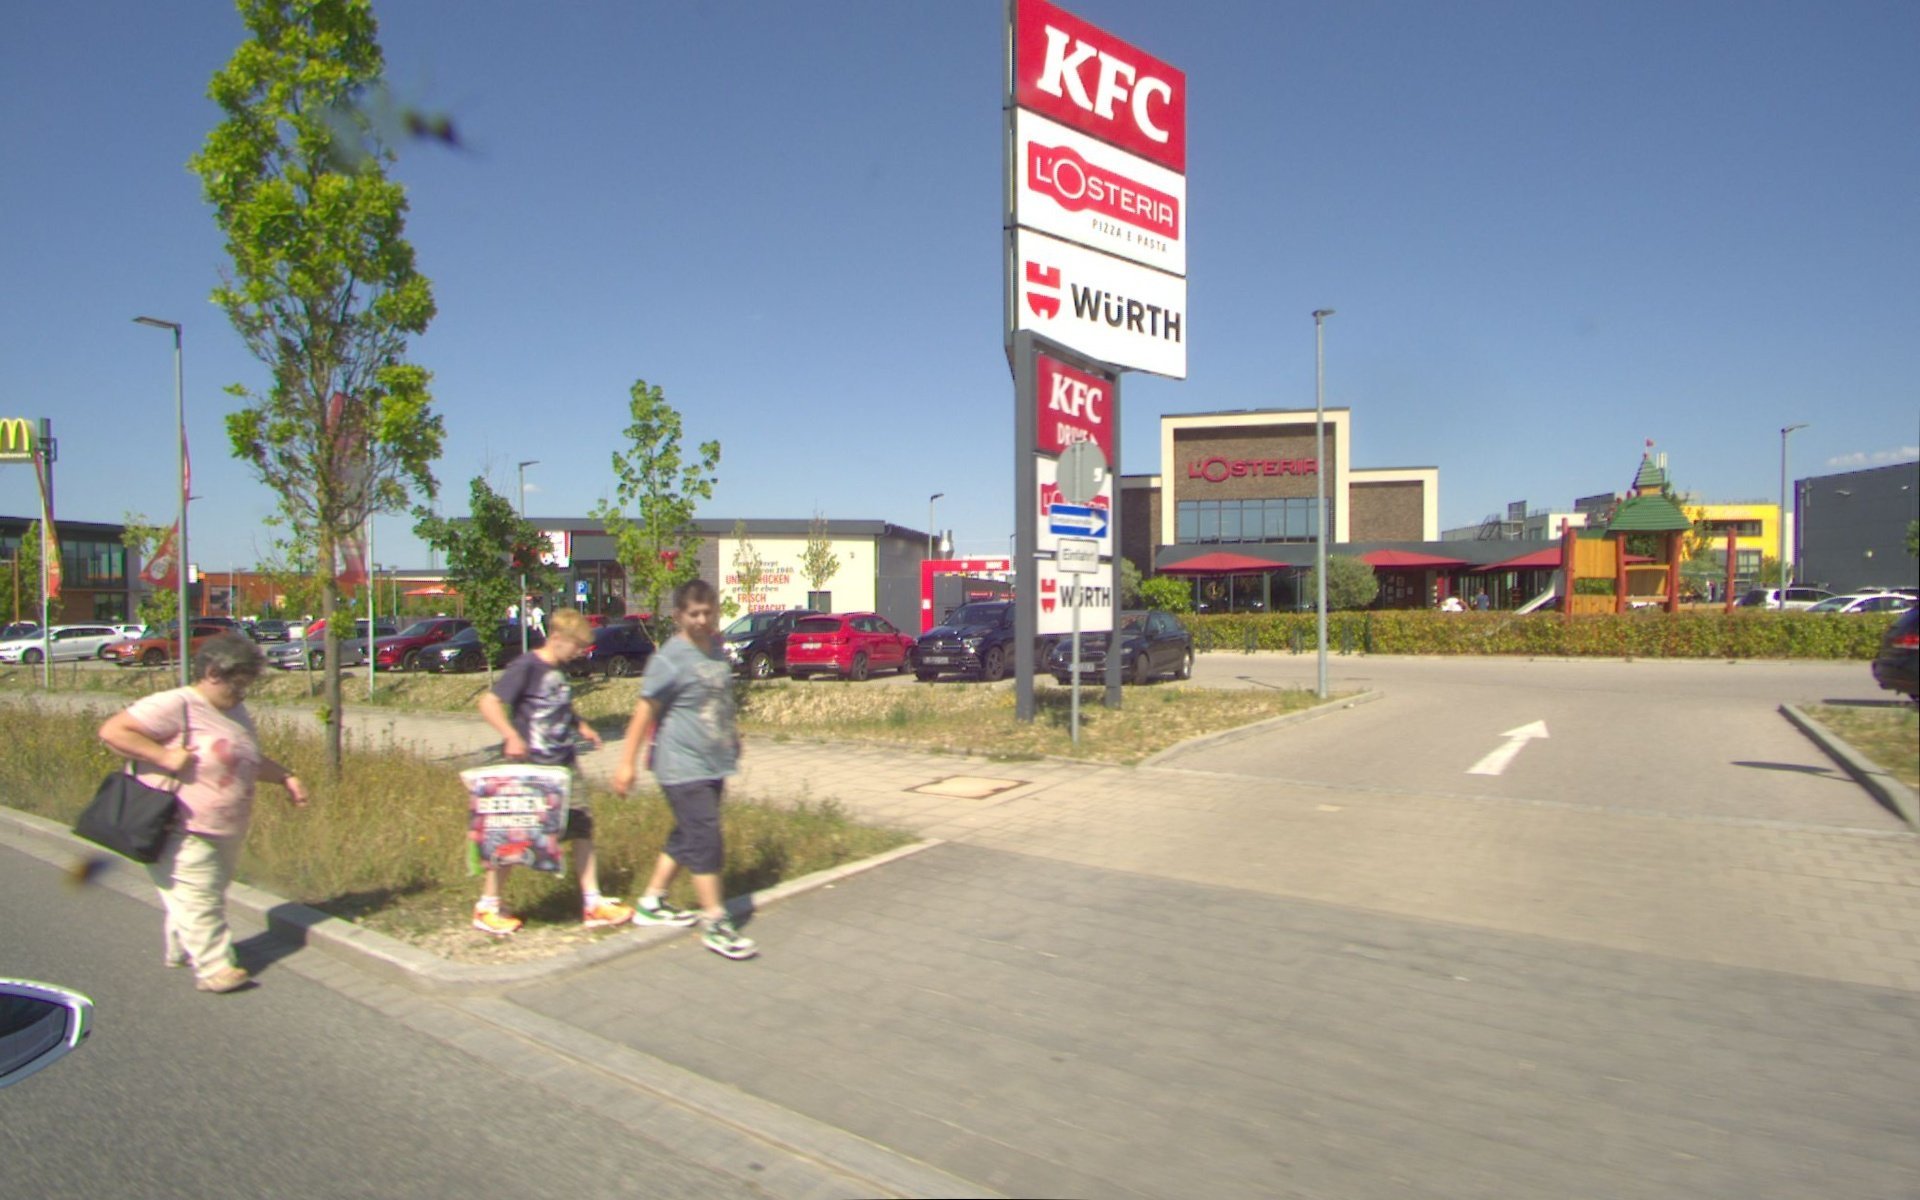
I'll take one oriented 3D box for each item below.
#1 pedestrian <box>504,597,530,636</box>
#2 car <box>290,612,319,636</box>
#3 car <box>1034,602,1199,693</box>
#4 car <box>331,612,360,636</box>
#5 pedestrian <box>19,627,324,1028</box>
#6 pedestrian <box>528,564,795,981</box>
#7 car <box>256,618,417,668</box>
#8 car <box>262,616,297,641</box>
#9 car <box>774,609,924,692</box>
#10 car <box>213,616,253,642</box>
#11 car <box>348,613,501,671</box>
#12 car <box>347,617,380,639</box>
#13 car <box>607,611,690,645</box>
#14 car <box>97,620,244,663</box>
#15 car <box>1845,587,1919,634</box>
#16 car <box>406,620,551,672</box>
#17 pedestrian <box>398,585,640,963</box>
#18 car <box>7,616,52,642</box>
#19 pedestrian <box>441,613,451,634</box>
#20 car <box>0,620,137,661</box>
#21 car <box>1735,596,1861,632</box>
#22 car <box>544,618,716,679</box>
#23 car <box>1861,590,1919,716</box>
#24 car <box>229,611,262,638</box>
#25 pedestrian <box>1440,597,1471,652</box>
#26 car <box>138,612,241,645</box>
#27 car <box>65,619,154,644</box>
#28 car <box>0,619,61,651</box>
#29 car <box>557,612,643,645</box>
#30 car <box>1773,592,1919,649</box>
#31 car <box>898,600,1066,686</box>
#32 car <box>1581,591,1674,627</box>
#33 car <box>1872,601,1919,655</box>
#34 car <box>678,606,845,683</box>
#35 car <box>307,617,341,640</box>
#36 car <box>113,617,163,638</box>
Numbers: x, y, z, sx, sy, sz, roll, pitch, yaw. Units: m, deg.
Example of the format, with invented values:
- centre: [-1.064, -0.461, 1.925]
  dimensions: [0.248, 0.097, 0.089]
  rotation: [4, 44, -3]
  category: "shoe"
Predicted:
- centre: [-23.584, 0.876, 53.318]
  dimensions: [0.875, 2.040, 0.915]
  rotation: [-1, 0, 16]
  category: "pedestrian"
- centre: [-49.990, 1.829, 76.383]
  dimensions: [1.768, 1.780, 4.142]
  rotation: [-1, 0, -34]
  category: "car"
- centre: [3.280, 0.856, 20.223]
  dimensions: [1.964, 1.587, 4.401]
  rotation: [0, 1, 28]
  category: "car"
- centre: [-49.147, 1.899, 80.032]
  dimensions: [1.768, 1.780, 4.142]
  rotation: [-1, 0, -34]
  category: "car"
- centre: [-3.399, 0.865, 4.328]
  dimensions: [0.936, 1.489, 0.791]
  rotation: [-1, -1, 34]
  category: "pedestrian"
- centre: [-1.342, 0.696, 4.544]
  dimensions: [0.854, 1.649, 0.807]
  rotation: [-1, -1, 34]
  category: "pedestrian"
- centre: [-21.754, 1.452, 35.166]
  dimensions: [1.837, 1.510, 4.556]
  rotation: [0, 0, 23]
  category: "car"
- centre: [-42.978, 1.792, 63.286]
  dimensions: [1.768, 1.470, 4.142]
  rotation: [-1, 0, -34]
  category: "car"
- centre: [-2.577, 1.144, 24.435]
  dimensions: [1.761, 1.758, 4.408]
  rotation: [0, 1, 22]
  category: "car"
- centre: [-43.808, 1.742, 60.383]
  dimensions: [1.768, 1.470, 4.142]
  rotation: [-1, 0, -34]
  category: "car"
- centre: [-17.628, 1.328, 33.180]
  dimensions: [1.839, 1.687, 4.151]
  rotation: [0, 1, 27]
  category: "car"
- centre: [-41.863, 1.920, 70.247]
  dimensions: [1.768, 1.470, 4.142]
  rotation: [-1, 0, -34]
  category: "car"
- centre: [-15.085, 1.331, 48.777]
  dimensions: [1.833, 1.450, 4.566]
  rotation: [0, 0, 12]
  category: "car"
- centre: [-30.755, 1.573, 39.165]
  dimensions: [1.836, 1.510, 4.209]
  rotation: [0, 0, 19]
  category: "car"
- centre: [37.229, 0.395, 38.936]
  dimensions: [4.029, 1.780, 1.702]
  rotation: [-1, 0, 2]
  category: "car"
- centre: [-15.378, 1.420, 32.226]
  dimensions: [1.760, 1.468, 4.157]
  rotation: [0, 0, 21]
  category: "car"
- centre: [-2.158, 0.772, 4.931]
  dimensions: [0.793, 1.651, 0.799]
  rotation: [-1, -1, 34]
  category: "pedestrian"
- centre: [-64.597, 1.988, 69.554]
  dimensions: [1.776, 1.724, 3.972]
  rotation: [-1, 0, -36]
  category: "car"
- centre: [-30.427, 1.395, 59.283]
  dimensions: [0.287, 1.257, 0.380]
  rotation: [-1, 0, 11]
  category: "pedestrian"
- centre: [-37.600, 1.634, 41.918]
  dimensions: [1.836, 1.510, 4.531]
  rotation: [0, 0, 19]
  category: "car"
- centre: [36.521, 0.614, 43.711]
  dimensions: [4.029, 1.481, 1.702]
  rotation: [-1, 0, 2]
  category: "car"
- centre: [-9.098, 1.285, 27.972]
  dimensions: [1.767, 1.469, 4.393]
  rotation: [0, 1, 34]
  category: "car"
- centre: [13.822, 0.629, 12.110]
  dimensions: [4.113, 1.560, 1.775]
  rotation: [-1, -1, 35]
  category: "car"
- centre: [-50.238, 1.721, 70.468]
  dimensions: [1.768, 1.780, 4.142]
  rotation: [-1, 0, -34]
  category: "car"
- centre: [16.007, 0.786, 32.342]
  dimensions: [0.806, 1.772, 0.518]
  rotation: [-1, 0, 16]
  category: "pedestrian"
- centre: [-40.913, 1.497, 53.295]
  dimensions: [1.758, 1.657, 4.166]
  rotation: [-1, 0, 11]
  category: "car"
- centre: [-52.588, 1.916, 62.015]
  dimensions: [3.944, 1.391, 1.788]
  rotation: [-1, 0, -32]
  category: "car"
- centre: [-46.322, 1.718, 49.850]
  dimensions: [1.768, 1.481, 4.142]
  rotation: [-1, 0, -34]
  category: "car"
- centre: [-17.651, 1.356, 49.328]
  dimensions: [1.833, 1.450, 4.566]
  rotation: [0, 0, 12]
  category: "car"
- centre: [25.407, 0.555, 27.856]
  dimensions: [4.150, 1.491, 1.702]
  rotation: [-1, 0, 1]
  category: "car"
- centre: [0.671, 0.901, 23.477]
  dimensions: [1.909, 1.758, 4.977]
  rotation: [0, 1, 28]
  category: "car"
- centre: [36.174, 0.497, 54.455]
  dimensions: [2.009, 1.839, 4.924]
  rotation: [0, 0, 4]
  category: "car"
- centre: [23.760, 0.609, 23.012]
  dimensions: [4.055, 1.228, 1.654]
  rotation: [-1, 0, 1]
  category: "car"
- centre: [-5.002, 1.066, 25.884]
  dimensions: [1.764, 1.758, 4.399]
  rotation: [0, 1, 30]
  category: "car"
- centre: [-42.597, 1.862, 66.994]
  dimensions: [1.768, 1.470, 4.142]
  rotation: [-1, 0, -34]
  category: "car"
- centre: [-62.777, 2.075, 76.552]
  dimensions: [1.768, 1.540, 3.989]
  rotation: [-1, 0, -21]
  category: "car"
